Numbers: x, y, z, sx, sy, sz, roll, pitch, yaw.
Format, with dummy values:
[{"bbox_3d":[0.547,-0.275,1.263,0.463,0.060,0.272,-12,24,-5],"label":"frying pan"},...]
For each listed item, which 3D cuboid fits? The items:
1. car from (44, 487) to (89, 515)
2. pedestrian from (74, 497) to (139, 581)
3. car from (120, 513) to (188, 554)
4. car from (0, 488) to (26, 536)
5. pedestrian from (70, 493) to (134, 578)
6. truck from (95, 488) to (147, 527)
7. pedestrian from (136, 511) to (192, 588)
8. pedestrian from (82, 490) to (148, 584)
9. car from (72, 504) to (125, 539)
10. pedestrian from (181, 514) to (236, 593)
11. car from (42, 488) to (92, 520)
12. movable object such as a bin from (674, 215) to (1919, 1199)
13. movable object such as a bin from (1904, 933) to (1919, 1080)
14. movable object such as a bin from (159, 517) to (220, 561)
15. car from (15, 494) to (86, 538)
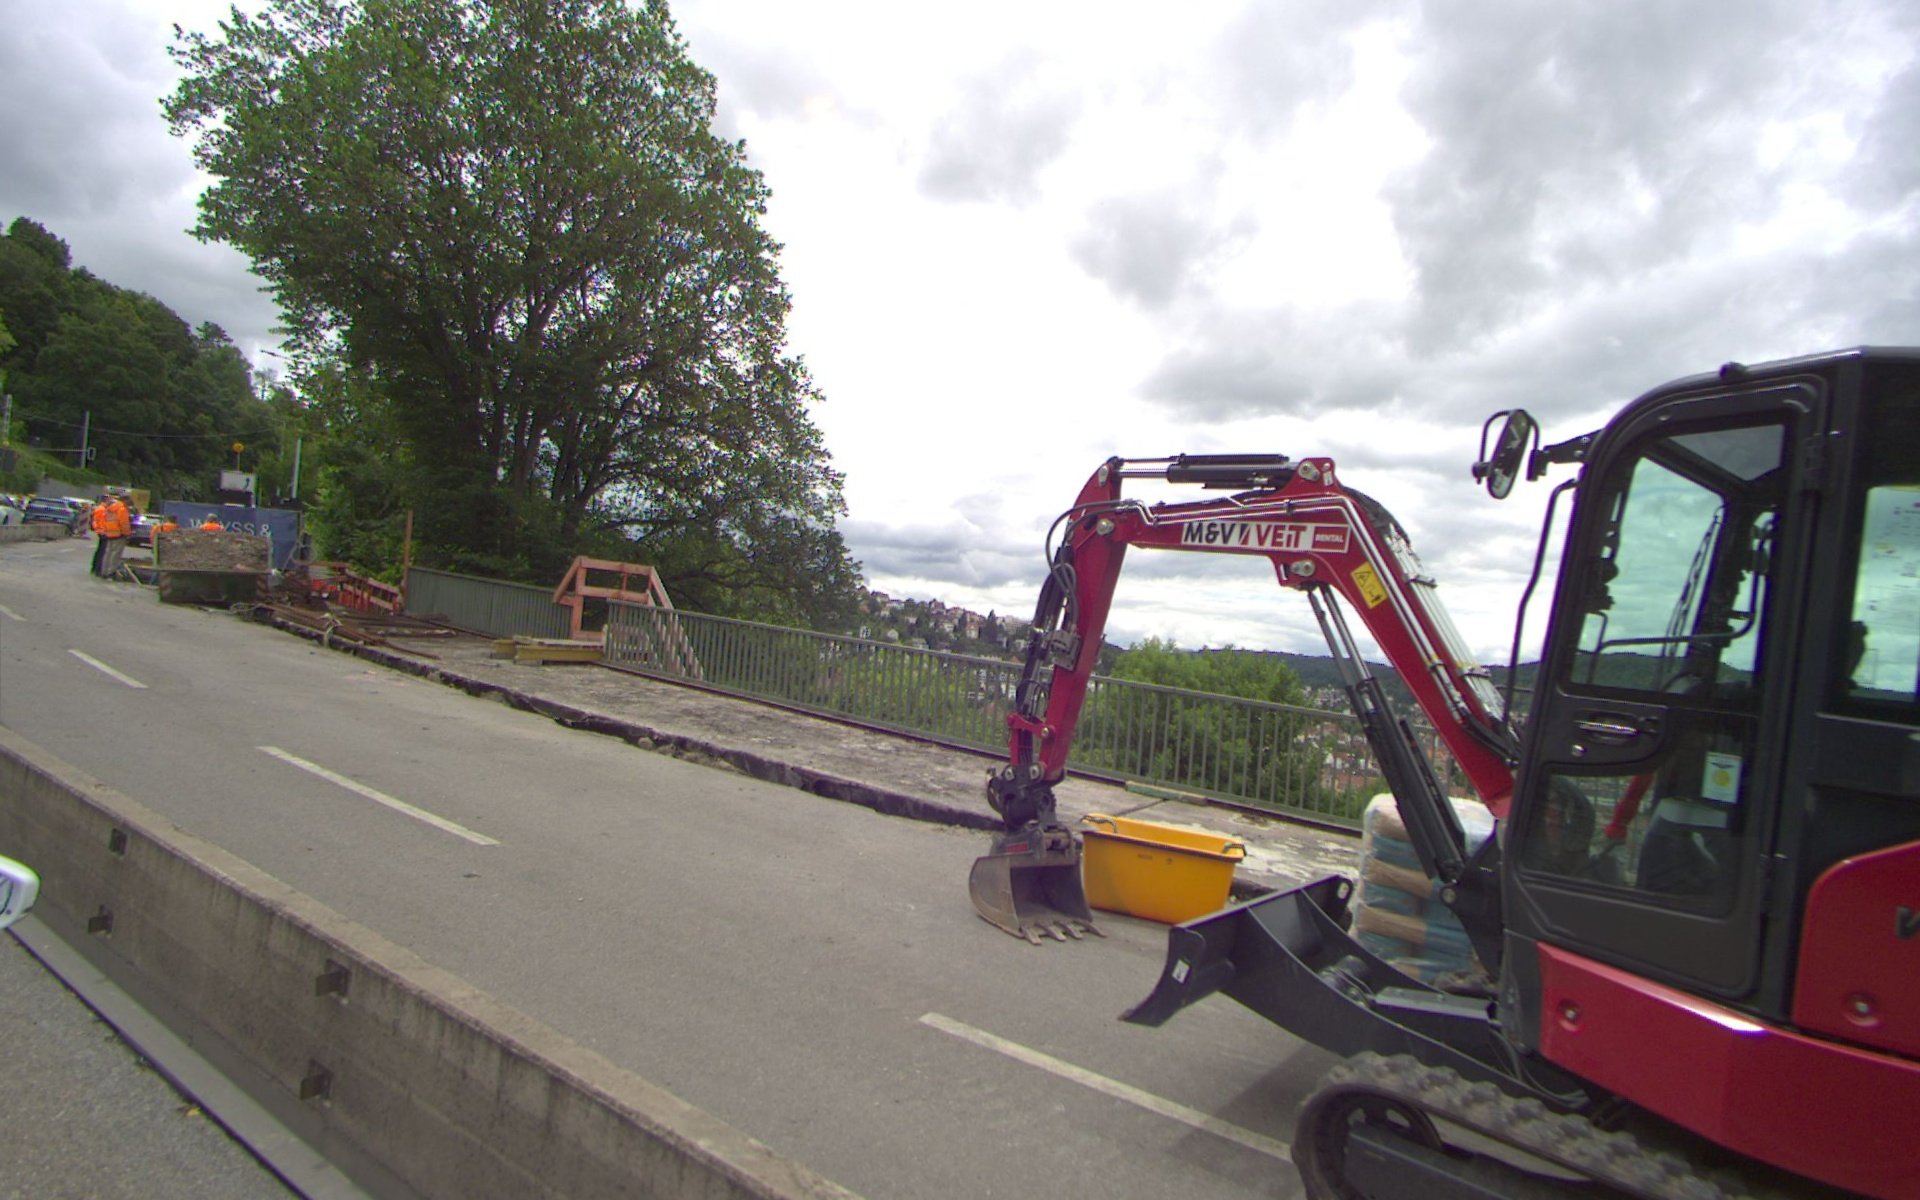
[{"bbox_3d":[-62.078,-6.866,69.951,1.759,1.468,4.267,10,-3,-36],"label":"car"},{"bbox_3d":[-19.449,-1.388,22.923,0.866,1.751,0.875,7,0,42],"label":"pedestrian"},{"bbox_3d":[-33.849,-2.784,42.351,1.784,1.384,3.964,8,-1,-34],"label":"car"},{"bbox_3d":[-35.205,-3.276,36.112,1.799,1.683,3.962,7,-1,-35],"label":"car"},{"bbox_3d":[-20.147,-1.509,23.614,0.866,1.844,0.875,7,0,42],"label":"pedestrian"},{"bbox_3d":[-84.592,-9.246,101.598,2.886,3.192,7.518,8,-1,-33],"label":"truck"},{"bbox_3d":[-18.180,-1.151,22.982,0.777,1.627,0.661,8,0,-33],"label":"pedestrian"},{"bbox_3d":[-18.707,-1.394,22.275,0.811,1.929,0.691,7,0,29],"label":"pedestrian"},{"bbox_3d":[-49.700,-4.514,58.112,1.799,1.683,3.962,7,-1,-35],"label":"car"},{"bbox_3d":[-17.311,-1.068,23.191,0.777,1.708,0.778,8,0,-32],"label":"pedestrian"},{"bbox_3d":[-57.143,-6.140,64.450,1.799,1.683,3.962,7,-1,-35],"label":"car"},{"bbox_3d":[1.492,0.494,3.899,4.869,2.693,2.213,7,-2,37],"label":"movable object such as a bin"},{"bbox_3d":[6.341,1.530,3.409,4.092,1.965,1.706,7,-2,27],"label":"movable object such as a bin"},{"bbox_3d":[-30.703,-2.444,40.083,1.879,1.442,1.394,7,-1,39],"label":"movable object such as a bin"},{"bbox_3d":[-42.177,-3.890,46.738,1.799,1.683,3.962,7,-1,-35],"label":"car"}]
